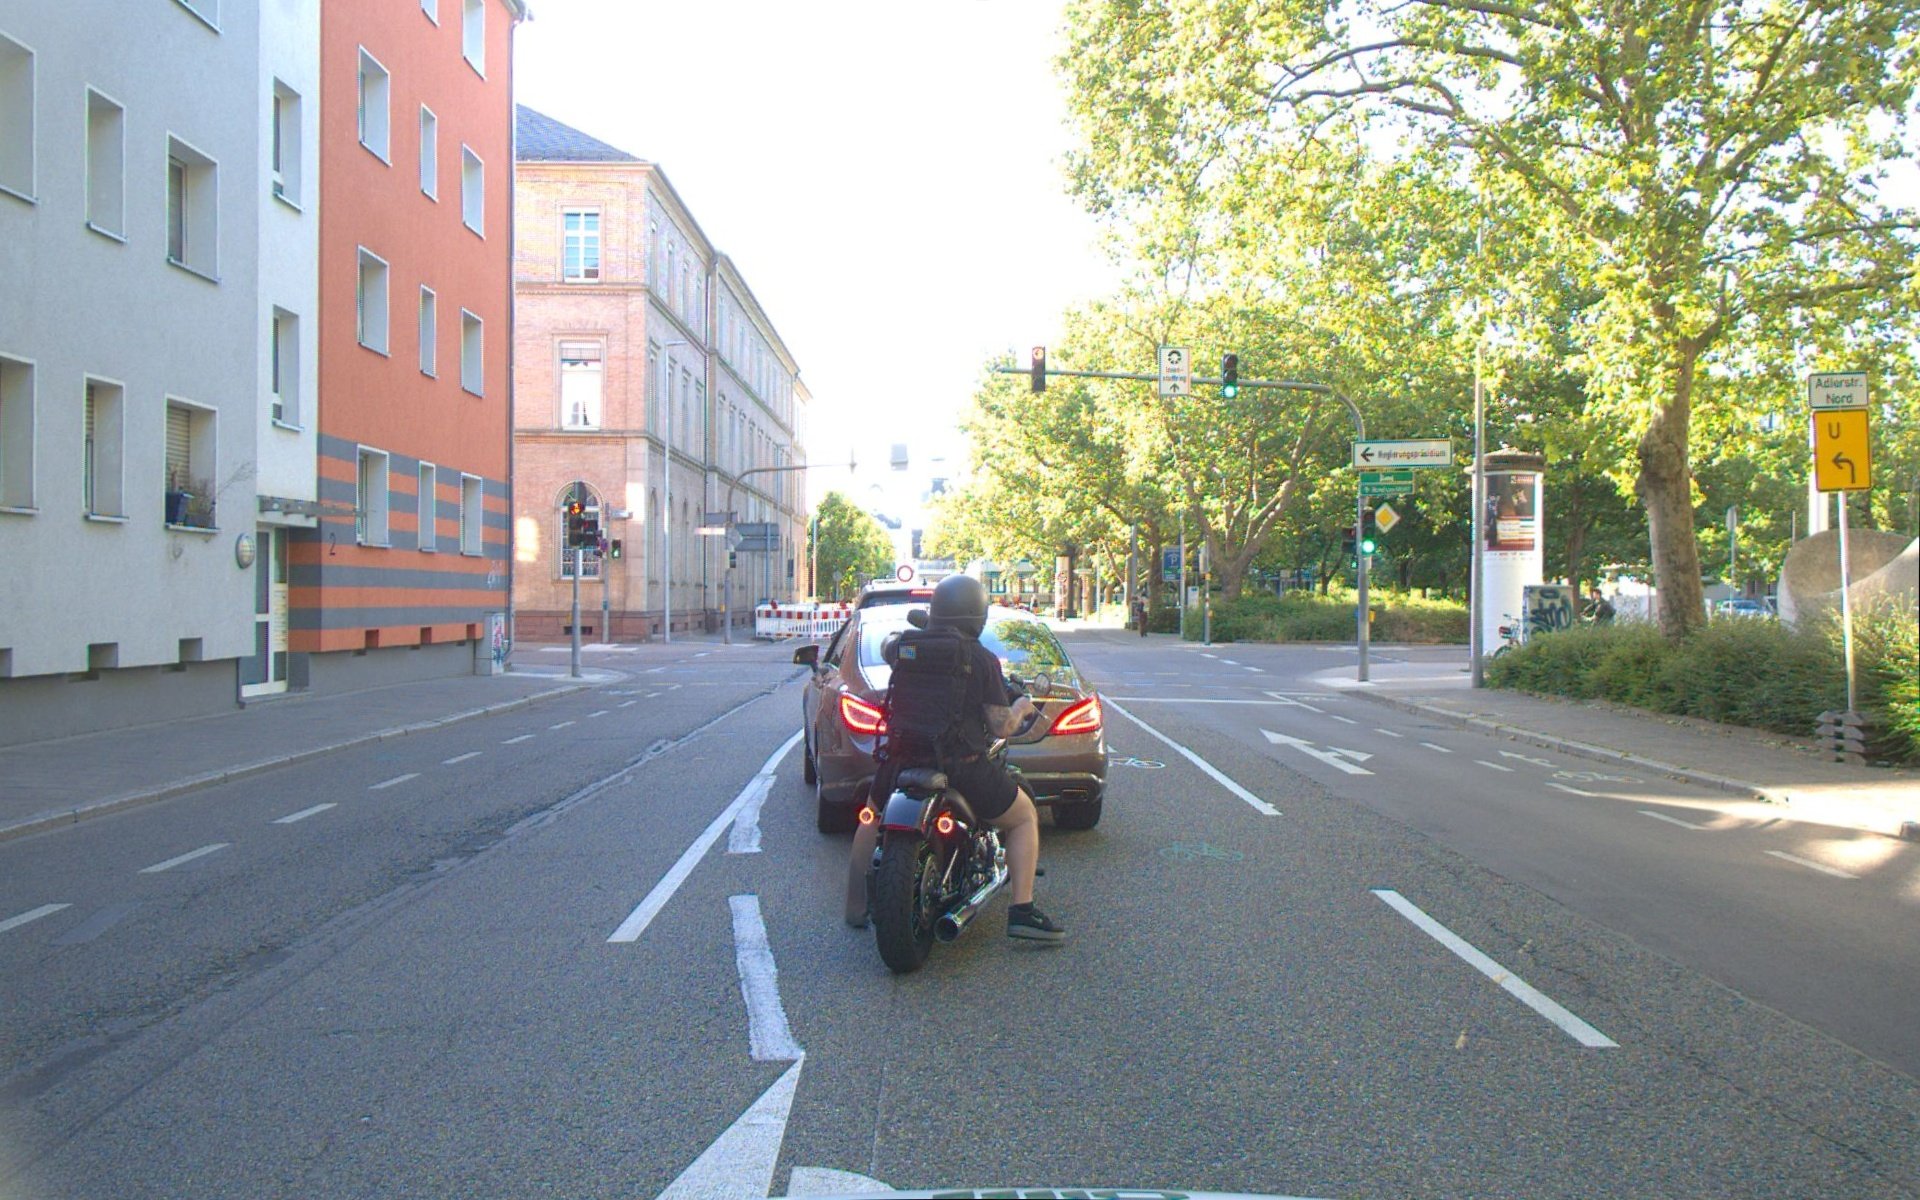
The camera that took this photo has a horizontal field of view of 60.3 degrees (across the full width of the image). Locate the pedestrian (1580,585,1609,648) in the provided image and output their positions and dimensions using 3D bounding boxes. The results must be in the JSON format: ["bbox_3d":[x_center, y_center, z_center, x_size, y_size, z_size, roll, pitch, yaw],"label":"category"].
[{"bbox_3d":[18.619,0.481,48.535,0.607,1.815,0.630,0,0,1],"label":"pedestrian"}]

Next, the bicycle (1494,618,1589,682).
[{"bbox_3d":[9.697,0.830,27.598,1.387,1.055,0.538,0,0,-5],"label":"bicycle"}]

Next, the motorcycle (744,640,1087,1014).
[{"bbox_3d":[-0.067,0.828,7.189,0.986,1.225,2.667,0,0,10],"label":"motorcycle"}]

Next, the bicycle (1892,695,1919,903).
[{"bbox_3d":[5.227,1.037,7.838,0.598,1.044,1.731,2,0,-1],"label":"bicycle"}]

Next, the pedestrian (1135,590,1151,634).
[{"bbox_3d":[7.283,0.476,65.814,0.548,1.707,0.564,0,0,-1],"label":"pedestrian"}]

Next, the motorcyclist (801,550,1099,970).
[{"bbox_3d":[0.004,0.620,7.147,1.089,1.641,1.203,0,0,10],"label":"motorcyclist"}]

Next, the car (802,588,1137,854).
[{"bbox_3d":[-0.138,0.681,11.615,1.787,1.502,4.346,0,0,-7],"label":"car"}]

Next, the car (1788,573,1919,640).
[{"bbox_3d":[25.729,0.181,46.497,3.912,1.815,2.001,0,0,4],"label":"car"}]

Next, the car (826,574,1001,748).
[{"bbox_3d":[-0.504,0.577,17.602,1.647,1.653,3.839,0,0,-2],"label":"car"}]
